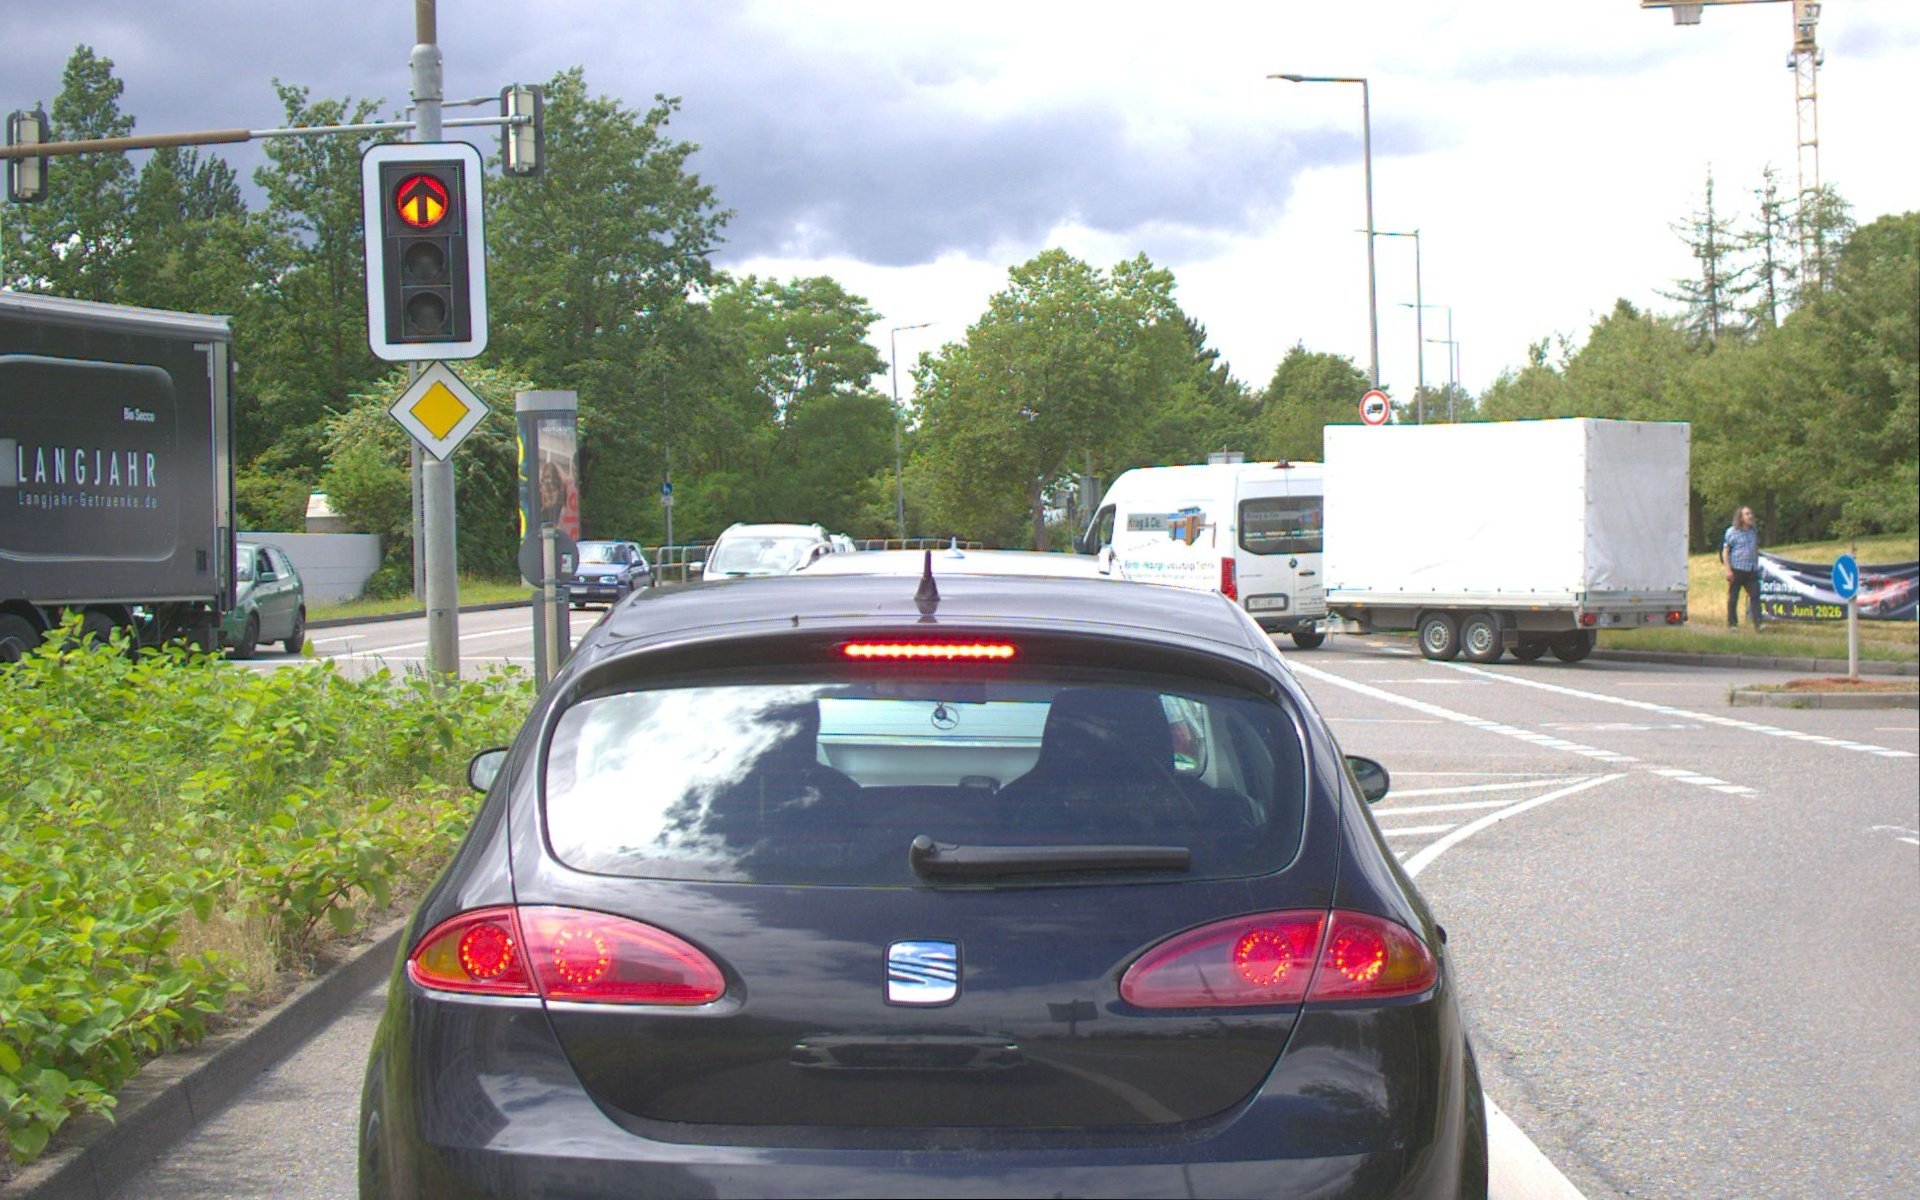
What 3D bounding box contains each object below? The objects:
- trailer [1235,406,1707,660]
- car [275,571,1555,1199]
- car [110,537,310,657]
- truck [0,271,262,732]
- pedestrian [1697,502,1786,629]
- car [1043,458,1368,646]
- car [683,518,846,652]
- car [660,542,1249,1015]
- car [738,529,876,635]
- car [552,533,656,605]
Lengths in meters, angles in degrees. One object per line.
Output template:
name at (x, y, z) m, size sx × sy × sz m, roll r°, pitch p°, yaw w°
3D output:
trailer at (6.508, -0.848, 44.286) m, size 5.583 × 3.063 × 2.493 m, roll 1°, pitch 1°, yaw 45°
car at (-0.077, 0.683, 6.351) m, size 1.711 × 1.412 × 3.459 m, roll 1°, pitch 1°, yaw 0°
car at (-9.408, -0.072, 43.383) m, size 1.605 × 1.427 × 3.752 m, roll 0°, pitch 1°, yaw 2°
truck at (-9.051, -0.776, 25.889) m, size 3.170 × 3.506 × 9.519 m, roll 2°, pitch 1°, yaw 17°
pedestrian at (11.162, -0.494, 49.125) m, size 0.718 × 1.786 × 1.044 m, roll 1°, pitch 0°, yaw -27°
car at (3.399, -0.683, 49.109) m, size 2.126 × 2.509 × 5.836 m, roll 1°, pitch 1°, yaw -24°
car at (-2.574, -0.247, 46.202) m, size 1.820 × 1.681 × 4.645 m, roll 1°, pitch 1°, yaw 1°
car at (0.001, 0.542, 12.695) m, size 1.834 × 1.462 × 3.751 m, roll 1°, pitch 1°, yaw 1°
car at (-2.293, -0.301, 52.280) m, size 1.660 × 1.513 × 4.084 m, roll 1°, pitch 1°, yaw 3°
car at (-7.336, -0.657, 71.026) m, size 1.554 × 1.414 × 3.895 m, roll 0°, pitch 1°, yaw 3°
